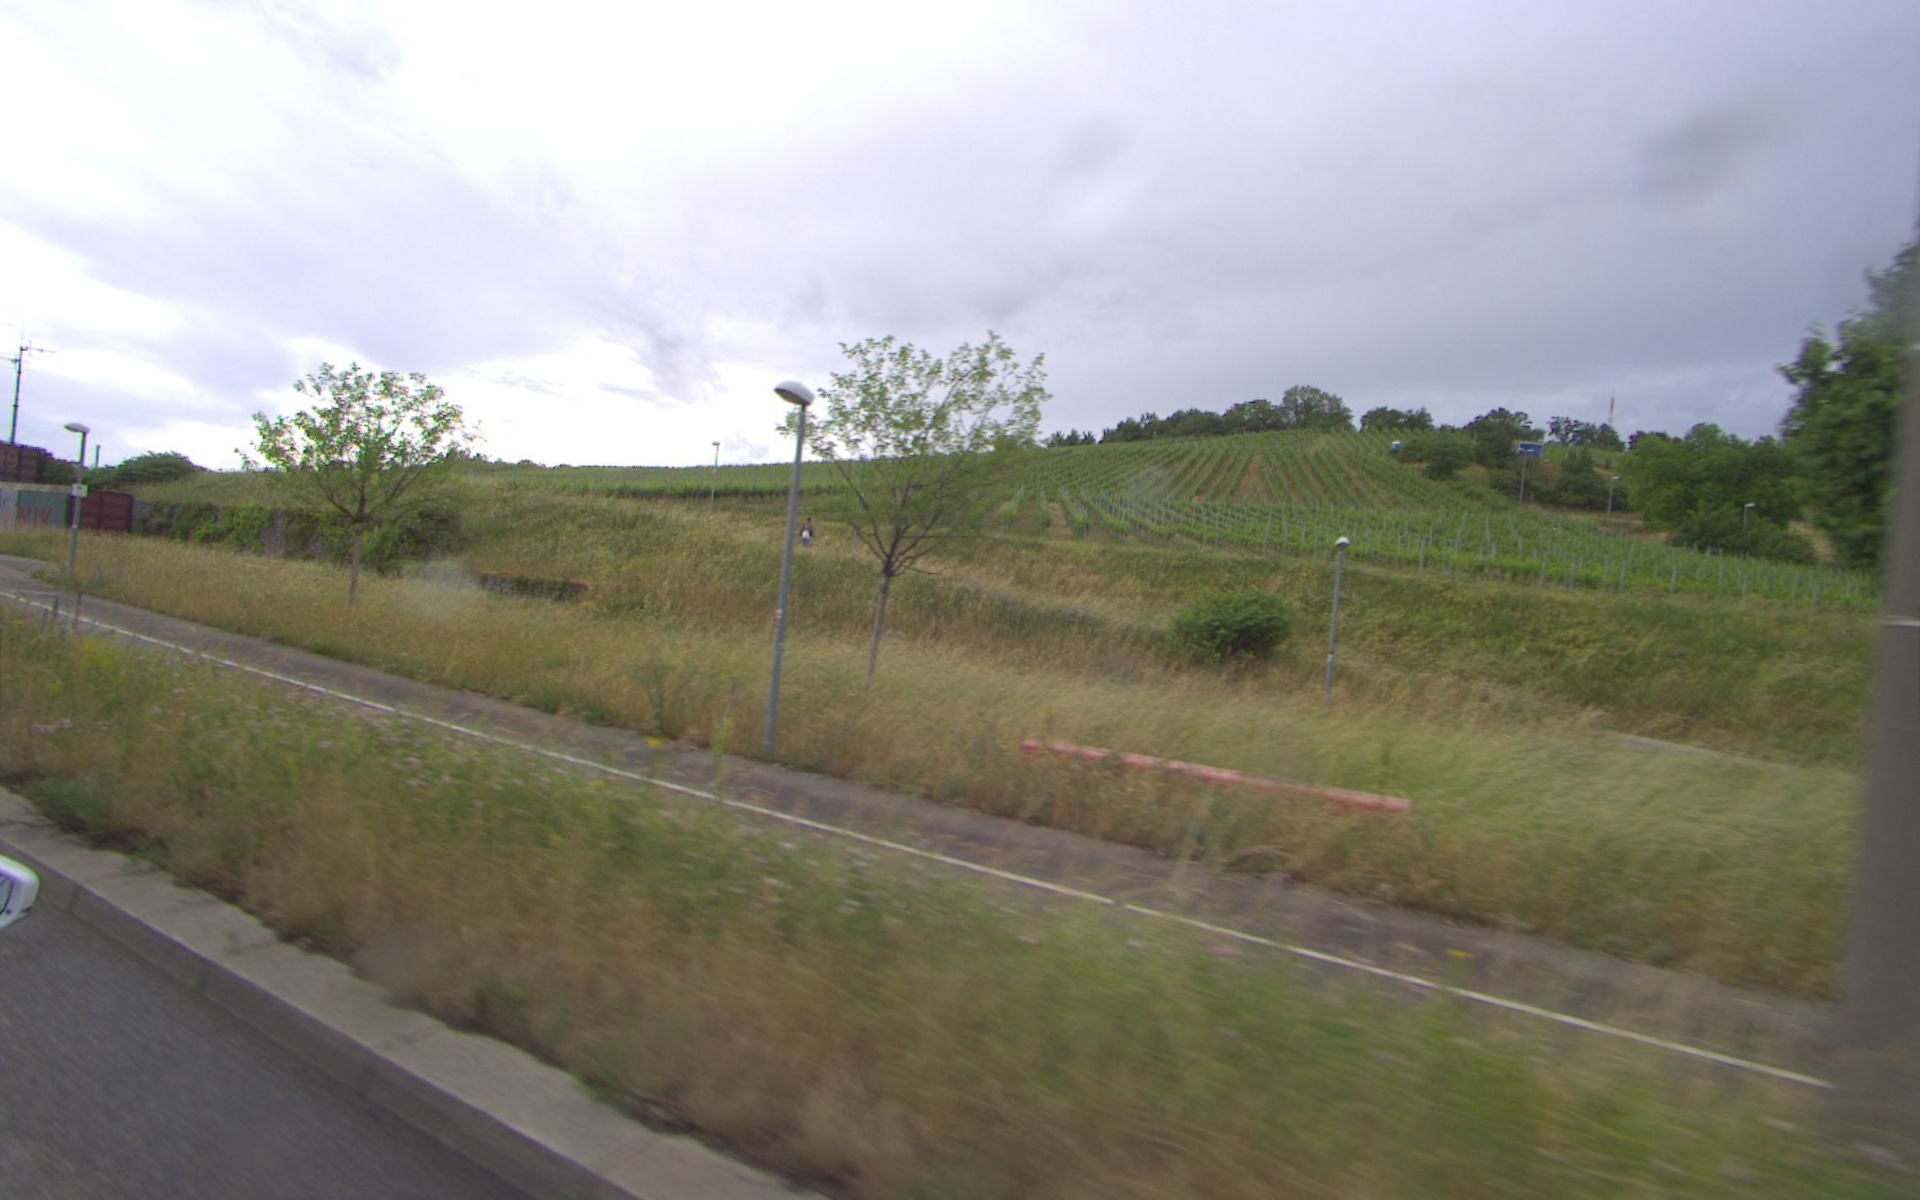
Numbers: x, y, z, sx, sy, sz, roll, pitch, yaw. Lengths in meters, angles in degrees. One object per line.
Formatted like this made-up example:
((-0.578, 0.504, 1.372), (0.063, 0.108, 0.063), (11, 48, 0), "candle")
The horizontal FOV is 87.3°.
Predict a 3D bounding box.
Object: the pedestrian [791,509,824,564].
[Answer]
((-6.145, -2.557, 40.620), (1.036, 2.040, 0.780), (7, 3, -5), "pedestrian")
